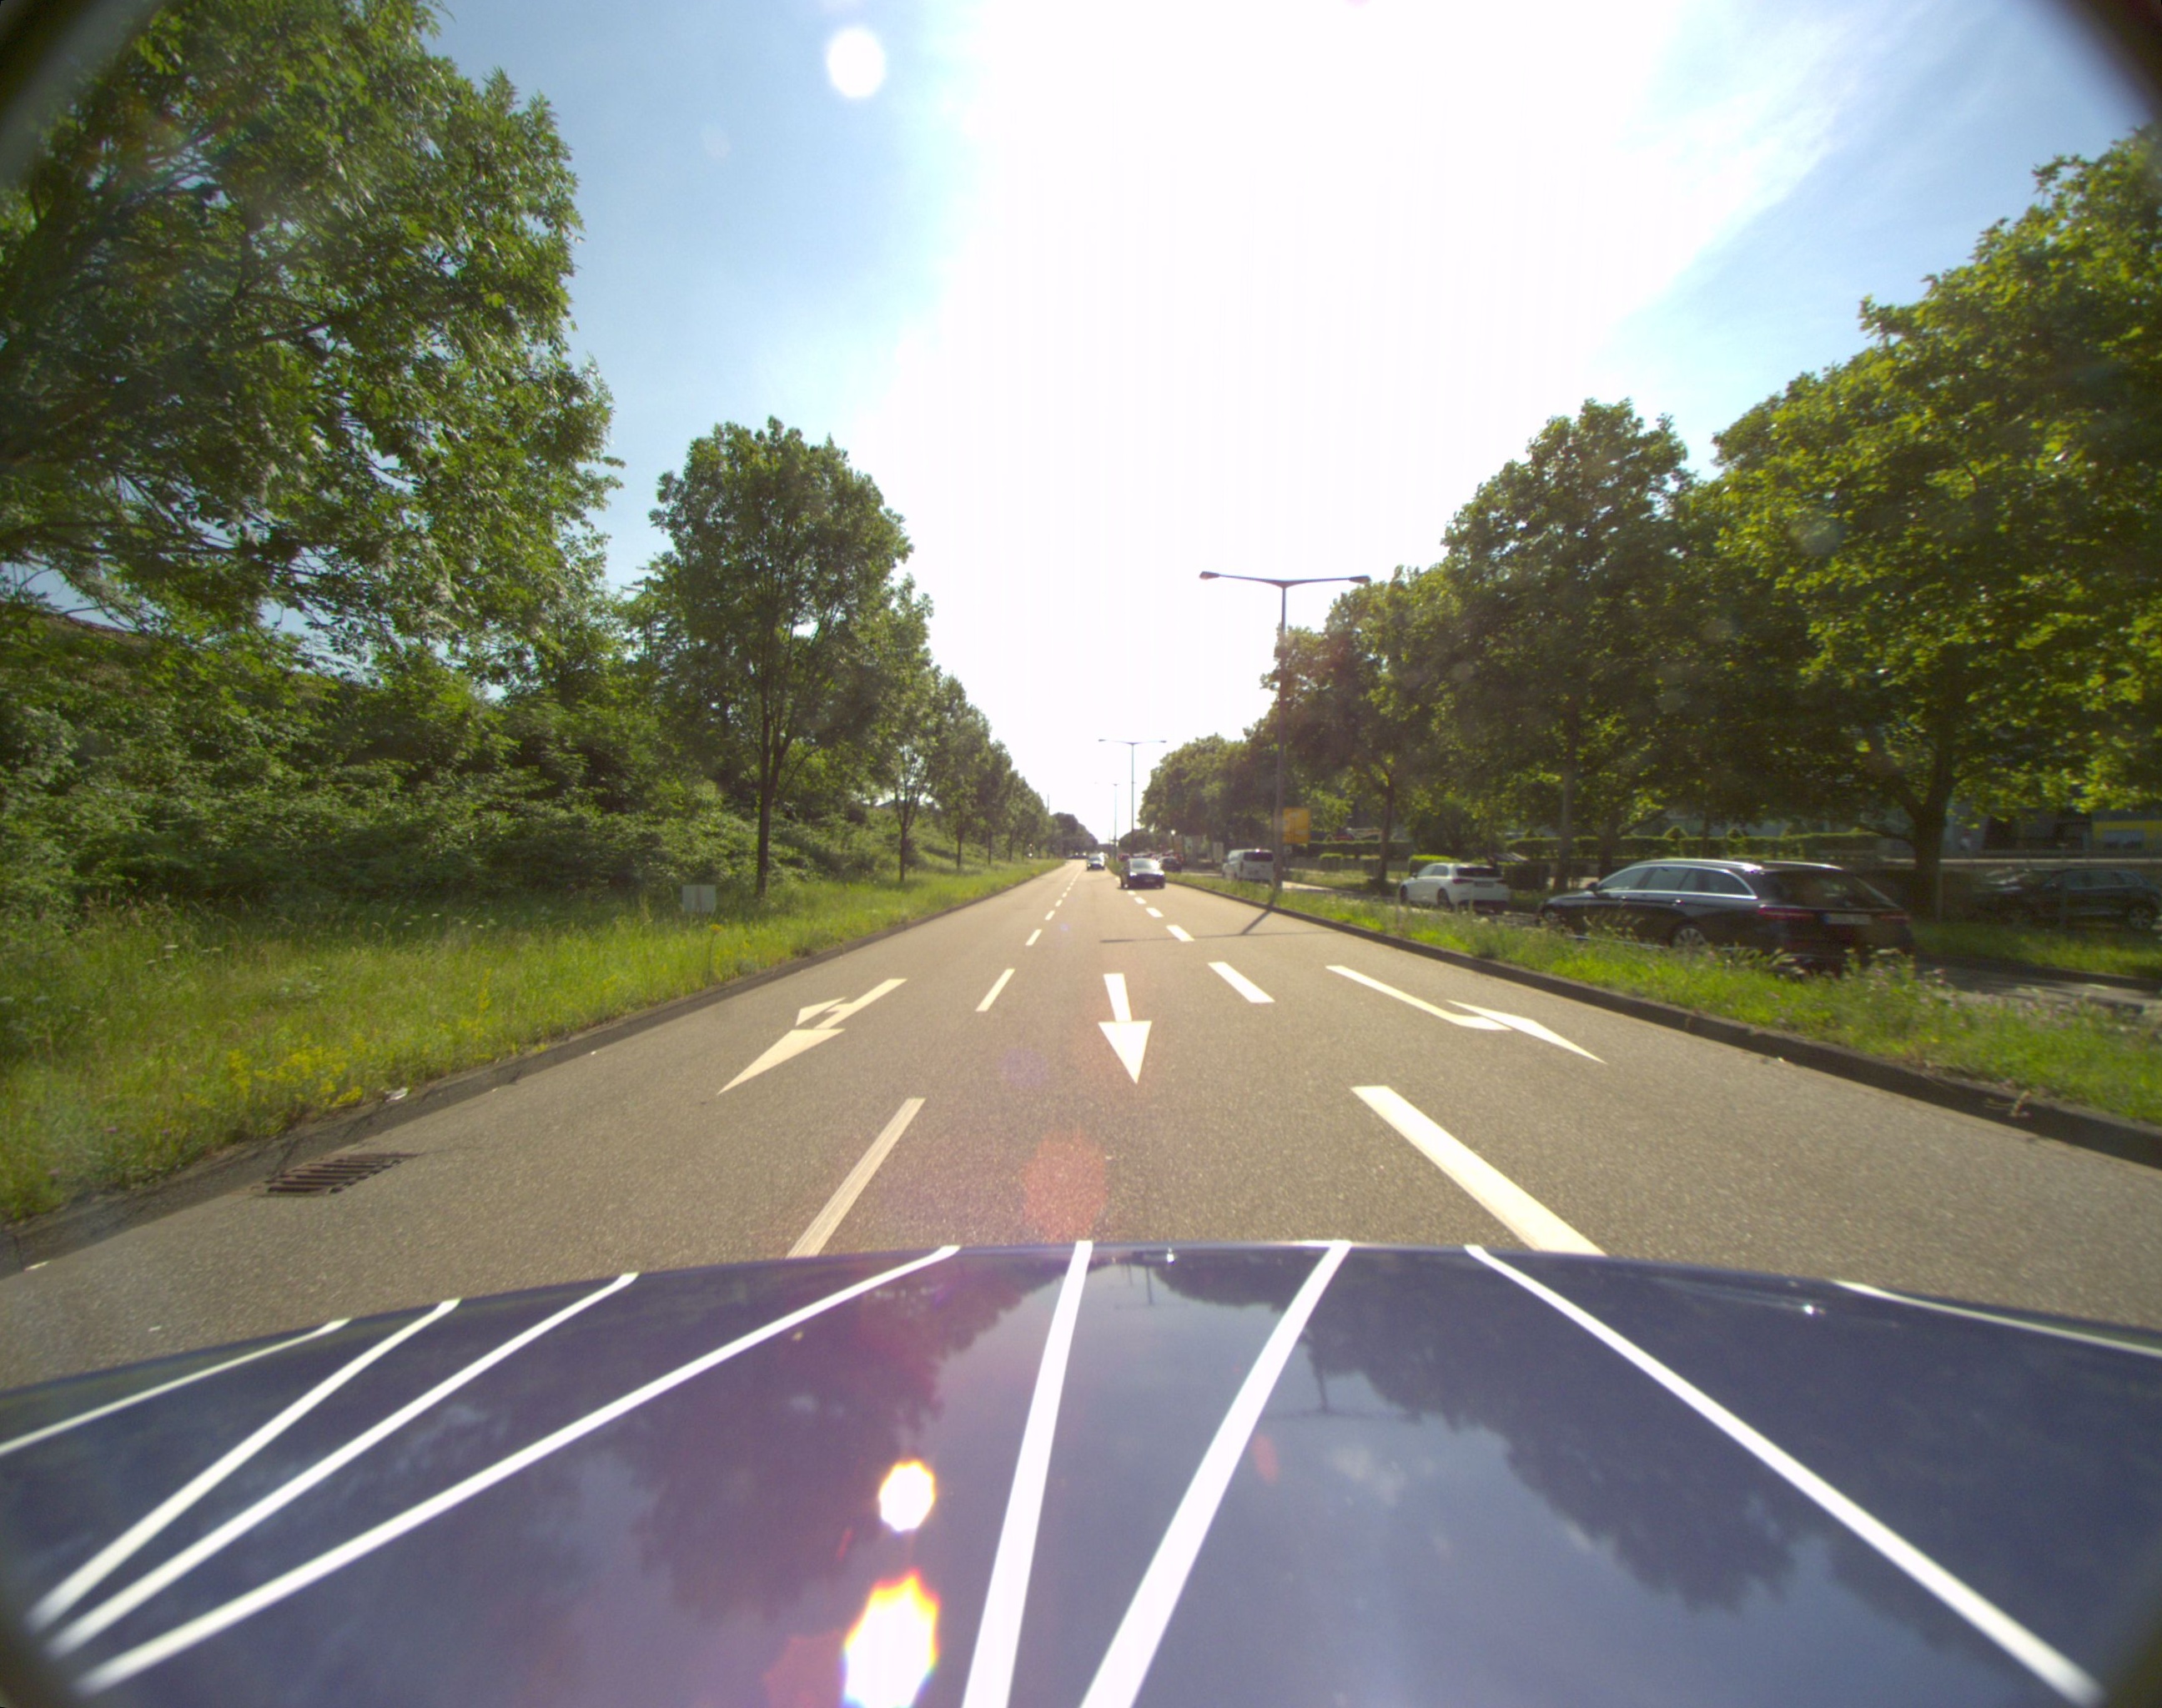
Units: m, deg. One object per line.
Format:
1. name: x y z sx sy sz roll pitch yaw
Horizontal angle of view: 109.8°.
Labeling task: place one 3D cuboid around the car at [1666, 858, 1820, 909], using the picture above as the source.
1. car: 25.565 1.129 29.483 3.995 1.812 2.157 -1 1 4

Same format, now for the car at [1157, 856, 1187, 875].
1. car: 7.438 0.912 62.261 1.773 1.460 4.282 0 0 -2

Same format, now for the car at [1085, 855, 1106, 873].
1. car: 1.414 0.959 76.406 1.998 1.699 4.431 0 0 0

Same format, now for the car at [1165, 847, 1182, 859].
1. car: 14.253 -0.088 117.389 1.998 1.824 4.651 1 0 0

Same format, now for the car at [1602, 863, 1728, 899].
1. car: 25.047 1.135 32.696 3.996 1.456 1.772 0 0 1

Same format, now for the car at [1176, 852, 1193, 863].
1. car: 14.259 0.419 105.070 1.768 1.454 4.000 1 0 1

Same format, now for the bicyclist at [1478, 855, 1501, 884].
1. bicyclist: 21.322 0.795 39.645 0.683 1.476 0.942 0 1 1

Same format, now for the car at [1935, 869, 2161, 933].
1. car: 26.078 1.230 20.493 3.997 1.592 1.869 0 0 0

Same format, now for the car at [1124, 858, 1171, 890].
1. car: 3.239 0.947 37.746 1.827 1.498 4.215 0 0 -2

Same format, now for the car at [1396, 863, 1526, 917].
1. car: 11.411 1.031 23.202 1.791 1.390 4.358 1 1 1

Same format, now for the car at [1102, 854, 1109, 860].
1. car: 6.635 0.743 206.136 1.714 1.498 4.004 -1 -2 6

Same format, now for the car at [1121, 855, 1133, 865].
1. car: 7.416 0.961 122.250 1.777 1.459 4.671 1 0 1

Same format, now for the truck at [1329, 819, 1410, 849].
1. truck: 33.762 -2.245 89.325 2.678 3.376 8.965 -1 0 -36

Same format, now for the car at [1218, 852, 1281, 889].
1. car: 8.979 0.819 40.997 2.122 1.872 5.419 0 0 -1

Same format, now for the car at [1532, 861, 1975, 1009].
1. car: 8.612 0.893 10.507 1.998 1.522 4.682 0 0 1
